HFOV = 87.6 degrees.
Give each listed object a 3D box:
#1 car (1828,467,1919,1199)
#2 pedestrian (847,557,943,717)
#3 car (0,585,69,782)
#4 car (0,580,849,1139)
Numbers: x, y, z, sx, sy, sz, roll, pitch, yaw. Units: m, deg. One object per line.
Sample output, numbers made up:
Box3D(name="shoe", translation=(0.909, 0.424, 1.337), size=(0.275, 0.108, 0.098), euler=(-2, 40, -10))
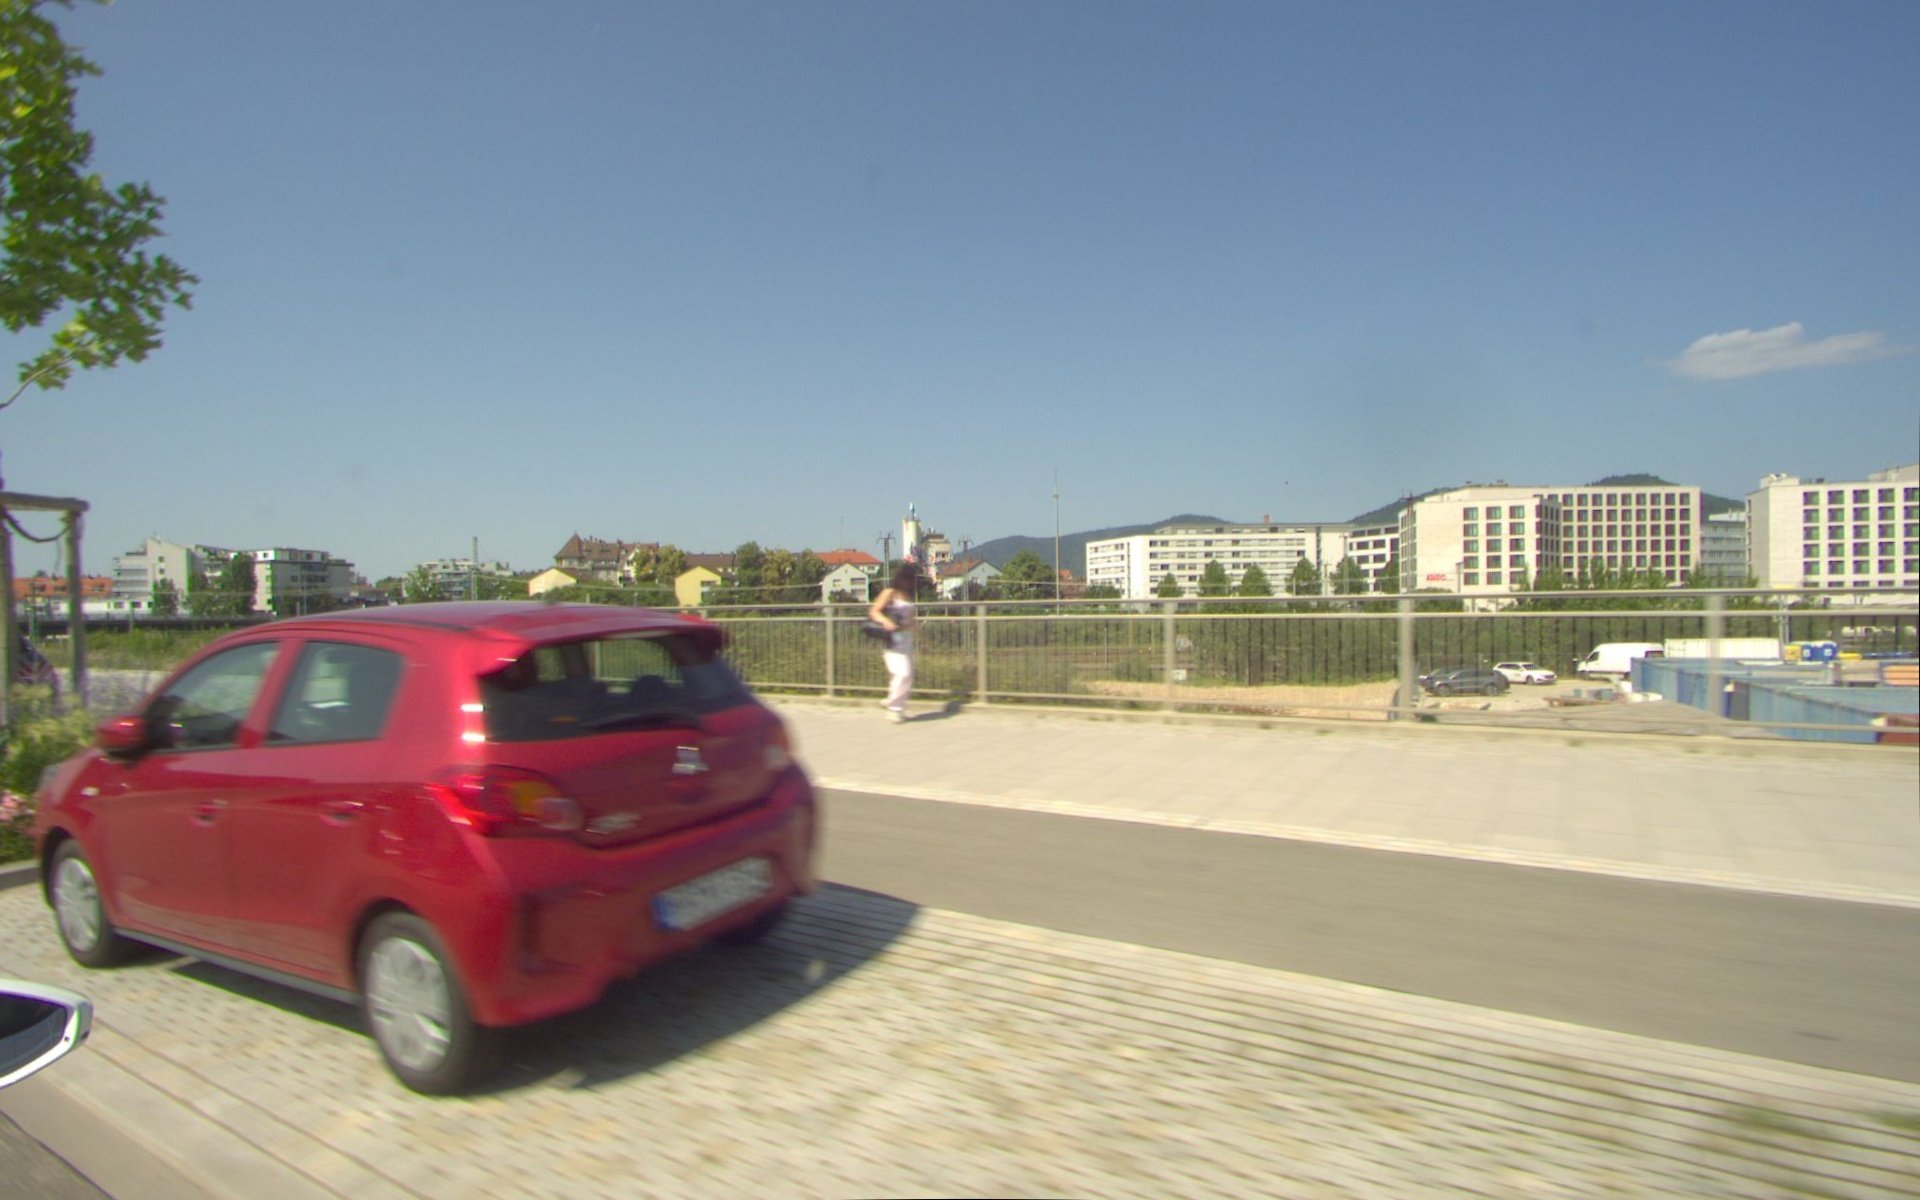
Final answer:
Box3D(name="car", translation=(3.716, 0.551, 0.671), size=(4.484, 1.638, 1.904), euler=(0, 0, 34))
Box3D(name="pedestrian", translation=(-0.730, 0.419, 11.339), size=(0.731, 1.727, 0.779), euler=(-2, -1, 33))
Box3D(name="car", translation=(-9.959, 0.731, 8.998), size=(4.179, 1.630, 1.731), euler=(-1, 1, 31))
Box3D(name="car", translation=(-2.495, 0.718, 4.326), size=(3.760, 1.512, 1.601), euler=(-1, 1, 29))
